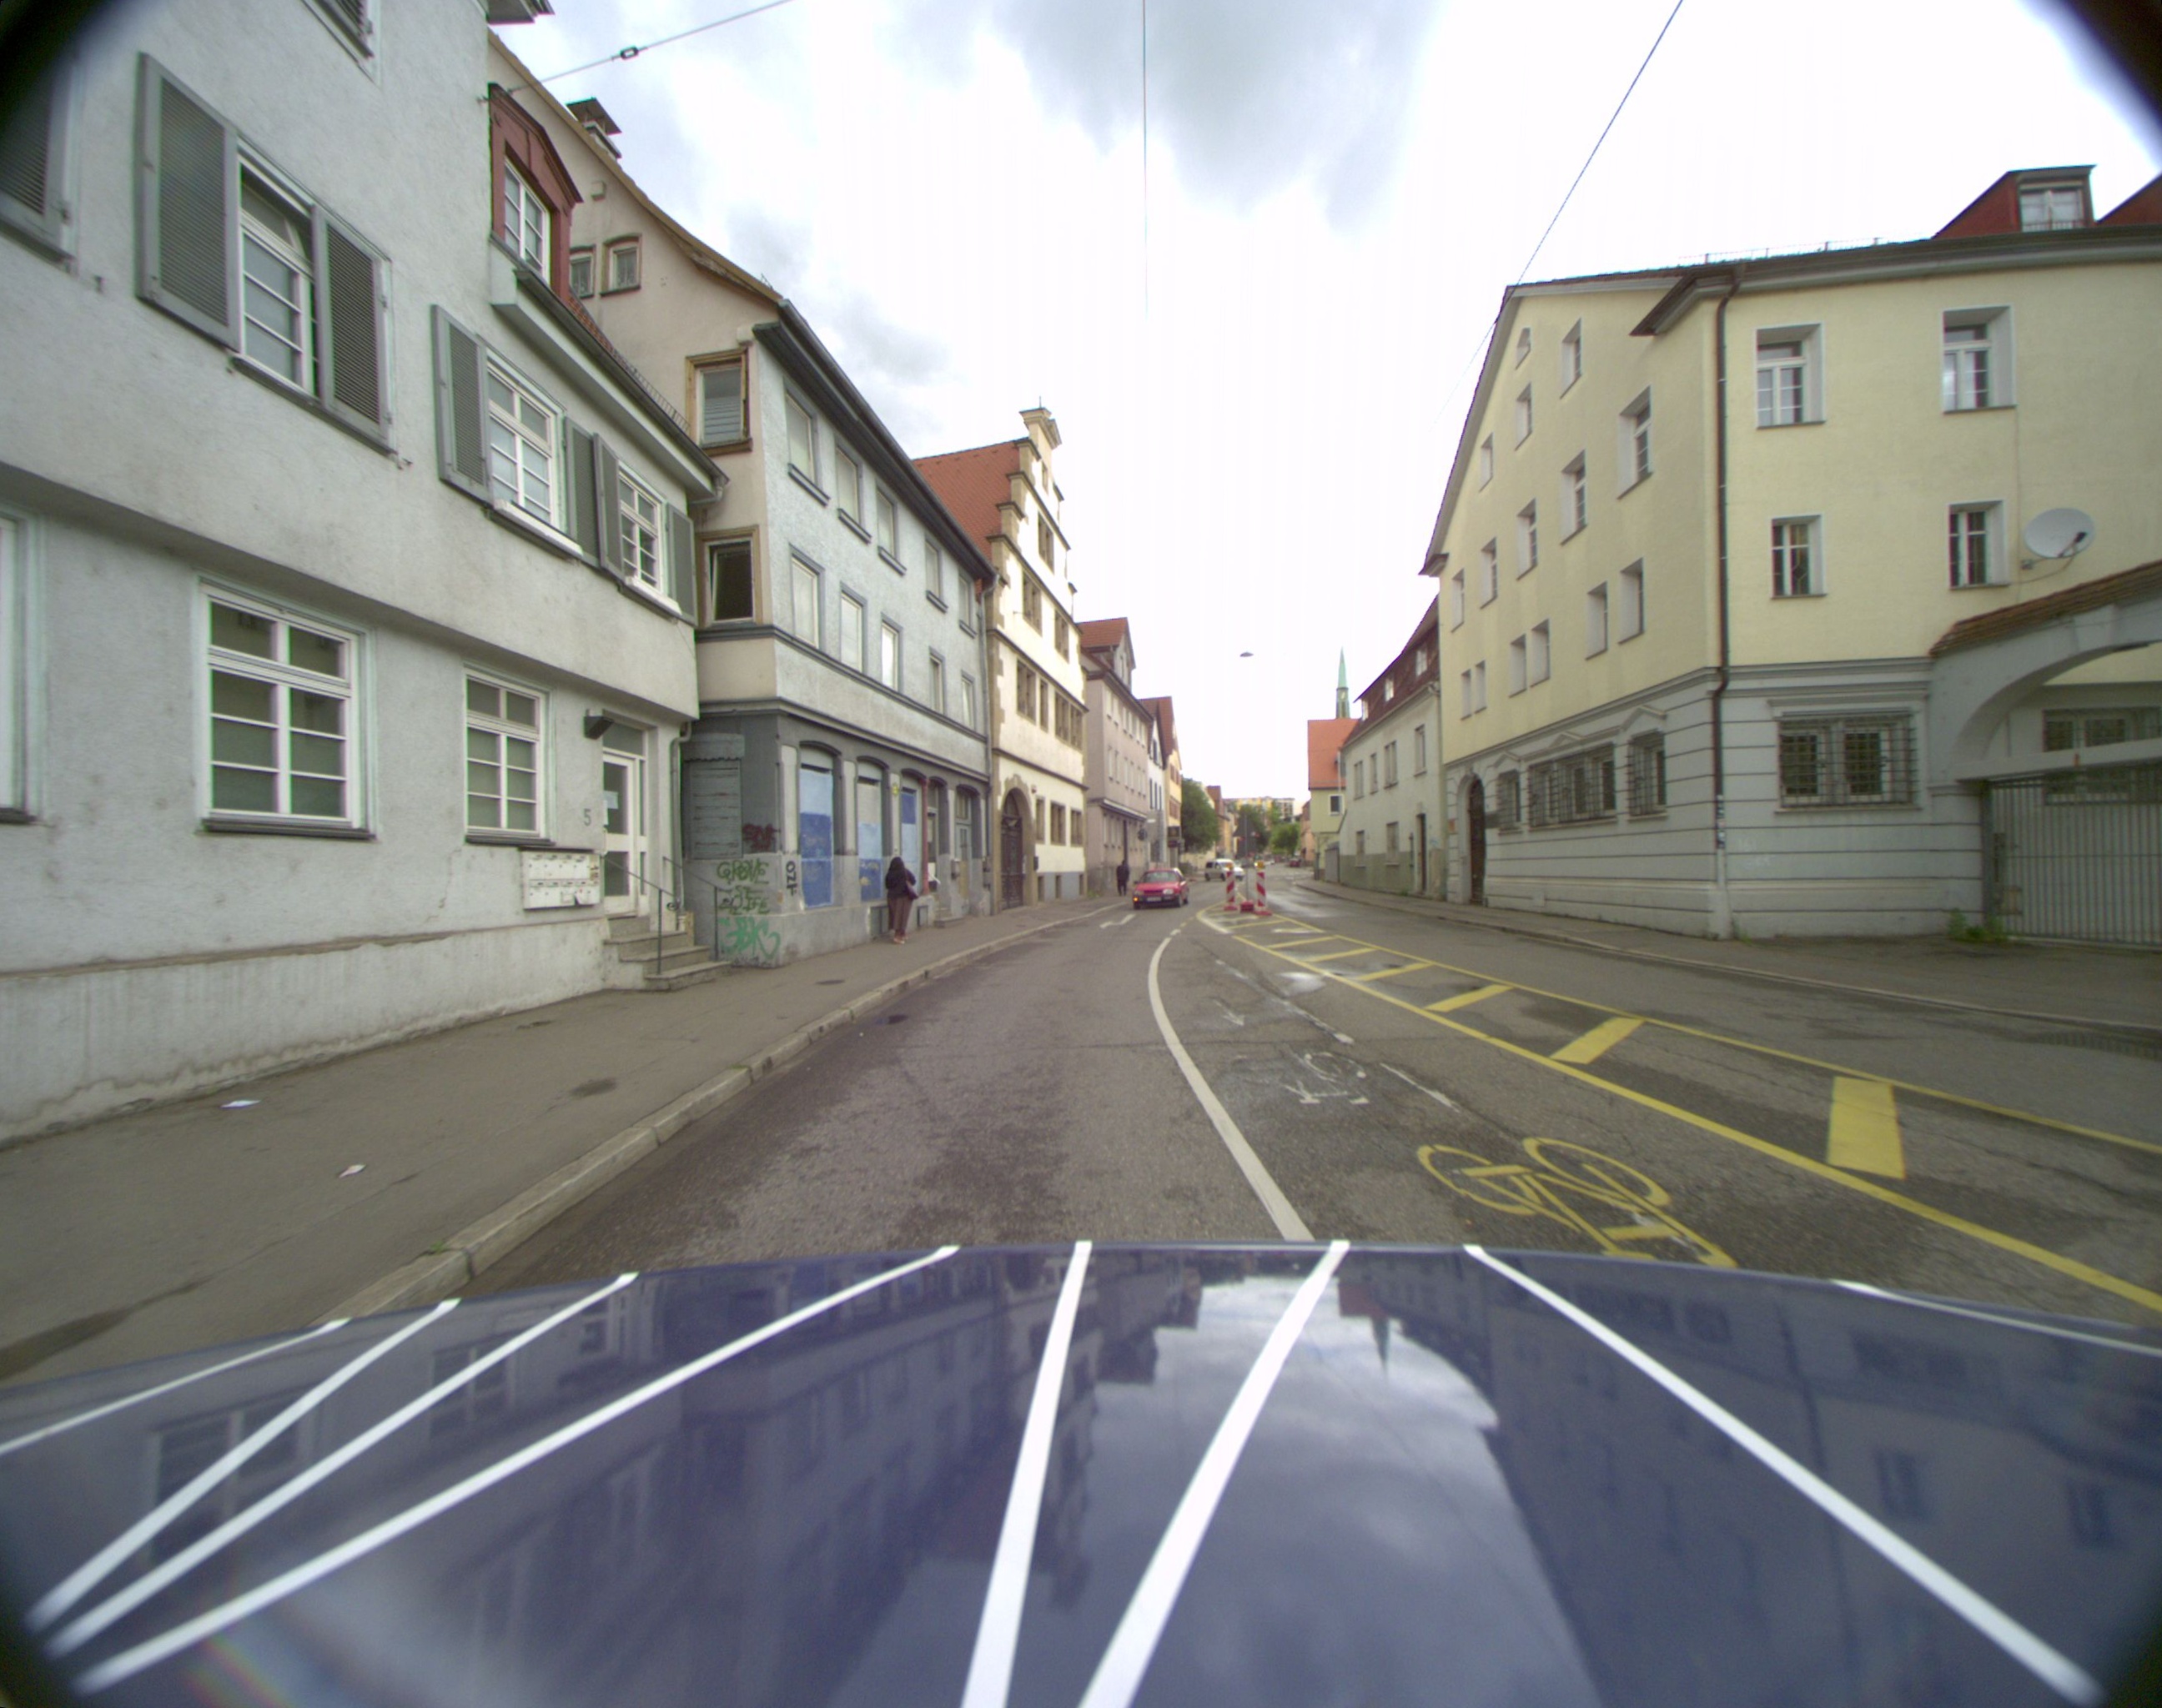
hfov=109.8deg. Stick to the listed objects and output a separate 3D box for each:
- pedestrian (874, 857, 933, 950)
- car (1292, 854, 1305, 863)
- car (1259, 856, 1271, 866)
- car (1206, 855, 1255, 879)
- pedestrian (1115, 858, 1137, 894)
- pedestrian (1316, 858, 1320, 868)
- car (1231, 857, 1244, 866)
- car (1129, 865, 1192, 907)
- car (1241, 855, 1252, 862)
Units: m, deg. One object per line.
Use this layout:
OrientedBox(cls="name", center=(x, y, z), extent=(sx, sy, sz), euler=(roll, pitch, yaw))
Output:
OrientedBox(cls="pedestrian", center=(-3.293, 0.896, 14.189), extent=(0.756, 1.657, 0.810), euler=(2, 0, 10))
OrientedBox(cls="car", center=(41.200, 0.907, 144.202), extent=(2.210, 1.668, 4.503), euler=(0, 0, 13))
OrientedBox(cls="car", center=(32.832, 1.170, 135.526), extent=(1.996, 1.668, 4.004), euler=(-1, 0, 15))
OrientedBox(cls="car", center=(12.246, 1.031, 62.458), extent=(2.002, 1.777, 4.460), euler=(-1, 1, -18))
OrientedBox(cls="pedestrian", center=(2.094, 1.005, 35.059), extent=(0.833, 1.646, 0.945), euler=(-1, -1, 15))
OrientedBox(cls="pedestrian", center=(35.805, 1.362, 114.817), extent=(0.636, 1.596, 0.712), euler=(0, 1, 15))
OrientedBox(cls="car", center=(26.998, 1.241, 130.873), extent=(2.031, 1.546, 4.004), euler=(0, 0, 14))
OrientedBox(cls="car", center=(2.998, 1.144, 27.956), extent=(1.683, 1.418, 4.027), euler=(-1, -2, 15))
OrientedBox(cls="car", center=(33.115, 0.852, 151.548), extent=(1.819, 1.380, 4.005), euler=(0, 0, 17))
